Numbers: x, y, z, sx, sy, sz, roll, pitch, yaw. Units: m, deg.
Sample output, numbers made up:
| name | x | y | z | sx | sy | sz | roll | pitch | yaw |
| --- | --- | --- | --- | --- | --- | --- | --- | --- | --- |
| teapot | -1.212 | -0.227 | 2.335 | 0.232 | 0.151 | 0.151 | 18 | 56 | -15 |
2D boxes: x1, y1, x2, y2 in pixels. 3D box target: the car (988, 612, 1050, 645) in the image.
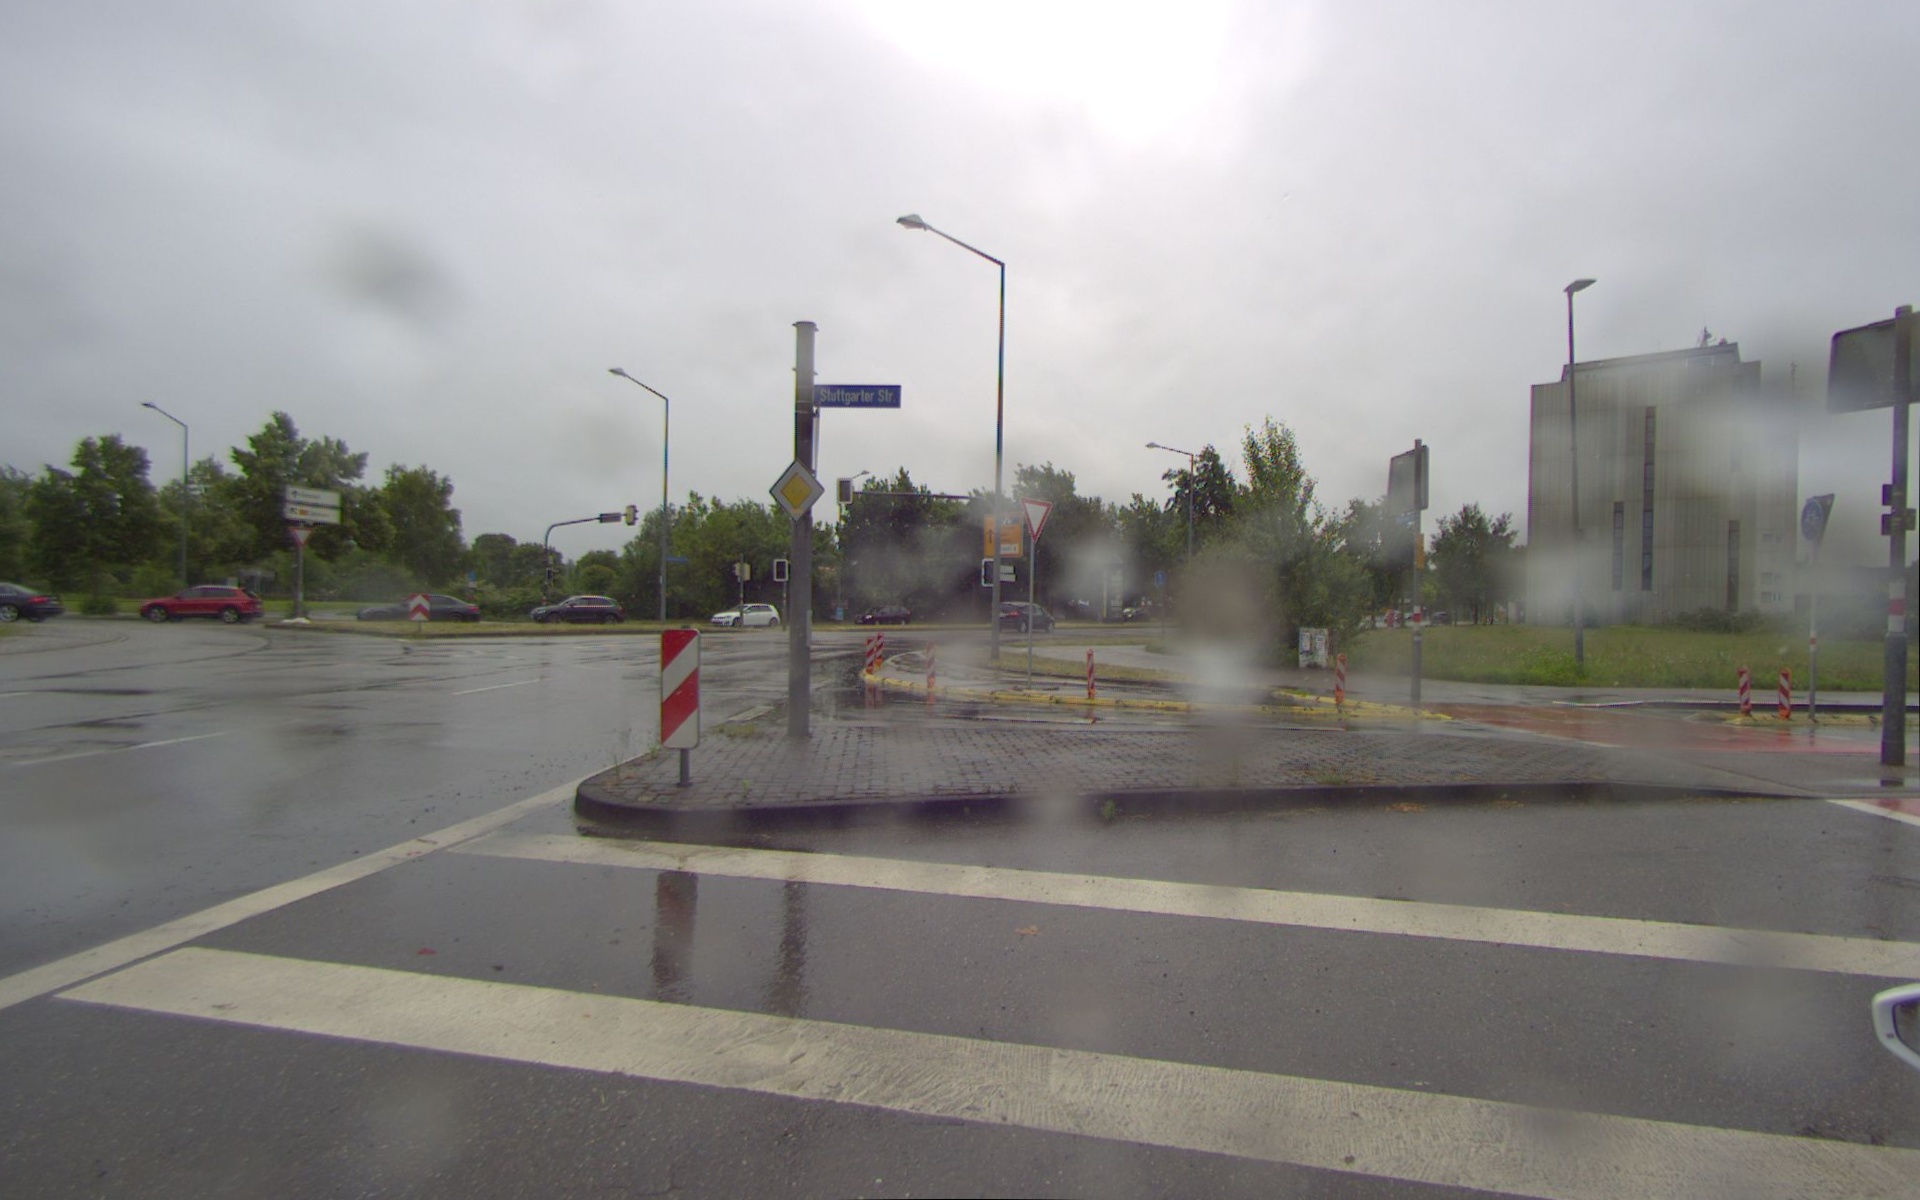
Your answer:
| name | x | y | z | sx | sy | sz | roll | pitch | yaw |
| --- | --- | --- | --- | --- | --- | --- | --- | --- | --- |
| car | 3.381 | 1.607 | 56.577 | 1.757 | 1.669 | 3.992 | 3 | -1 | 31 |

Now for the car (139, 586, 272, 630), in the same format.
| name | x | y | z | sx | sy | sz | roll | pitch | yaw |
| --- | --- | --- | --- | --- | --- | --- | --- | --- | --- |
| car | -33.704 | 0.350 | 45.002 | 4.330 | 1.669 | 1.780 | 4 | 0 | -21 |

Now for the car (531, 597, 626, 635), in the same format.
| name | x | y | z | sx | sy | sz | roll | pitch | yaw |
| --- | --- | --- | --- | --- | --- | --- | --- | --- | --- |
| car | -19.576 | 0.812 | 51.607 | 4.334 | 1.669 | 1.776 | 4 | -1 | -28 |

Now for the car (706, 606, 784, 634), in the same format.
| name | x | y | z | sx | sy | sz | roll | pitch | yaw |
| --- | --- | --- | --- | --- | --- | --- | --- | --- | --- |
| car | -12.442 | 1.148 | 58.244 | 1.608 | 1.394 | 4.228 | 3 | -1 | 42 |

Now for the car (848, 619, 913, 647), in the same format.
| name | x | y | z | sx | sy | sz | roll | pitch | yaw |
| --- | --- | --- | --- | --- | --- | --- | --- | --- | --- |
| car | -5.277 | 2.198 | 67.006 | 3.972 | 1.669 | 1.766 | 4 | -1 | -43 |

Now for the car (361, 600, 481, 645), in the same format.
| name | x | y | z | sx | sy | sz | roll | pitch | yaw |
| --- | --- | --- | --- | --- | --- | --- | --- | --- | --- |
| car | -23.485 | 0.988 | 43.806 | 4.353 | 1.669 | 1.771 | 4 | -1 | -36 |

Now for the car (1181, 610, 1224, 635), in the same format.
| name | x | y | z | sx | sy | sz | roll | pitch | yaw |
| --- | --- | --- | --- | --- | --- | --- | --- | --- | --- |
| car | 18.339 | 1.694 | 75.821 | 1.659 | 1.669 | 3.932 | 3 | -1 | 38 |

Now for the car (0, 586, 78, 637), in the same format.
| name | x | y | z | sx | sy | sz | roll | pitch | yaw |
| --- | --- | --- | --- | --- | --- | --- | --- | --- | --- |
| car | -34.615 | 0.343 | 35.807 | 4.333 | 1.669 | 1.779 | 4 | 0 | -24 |
